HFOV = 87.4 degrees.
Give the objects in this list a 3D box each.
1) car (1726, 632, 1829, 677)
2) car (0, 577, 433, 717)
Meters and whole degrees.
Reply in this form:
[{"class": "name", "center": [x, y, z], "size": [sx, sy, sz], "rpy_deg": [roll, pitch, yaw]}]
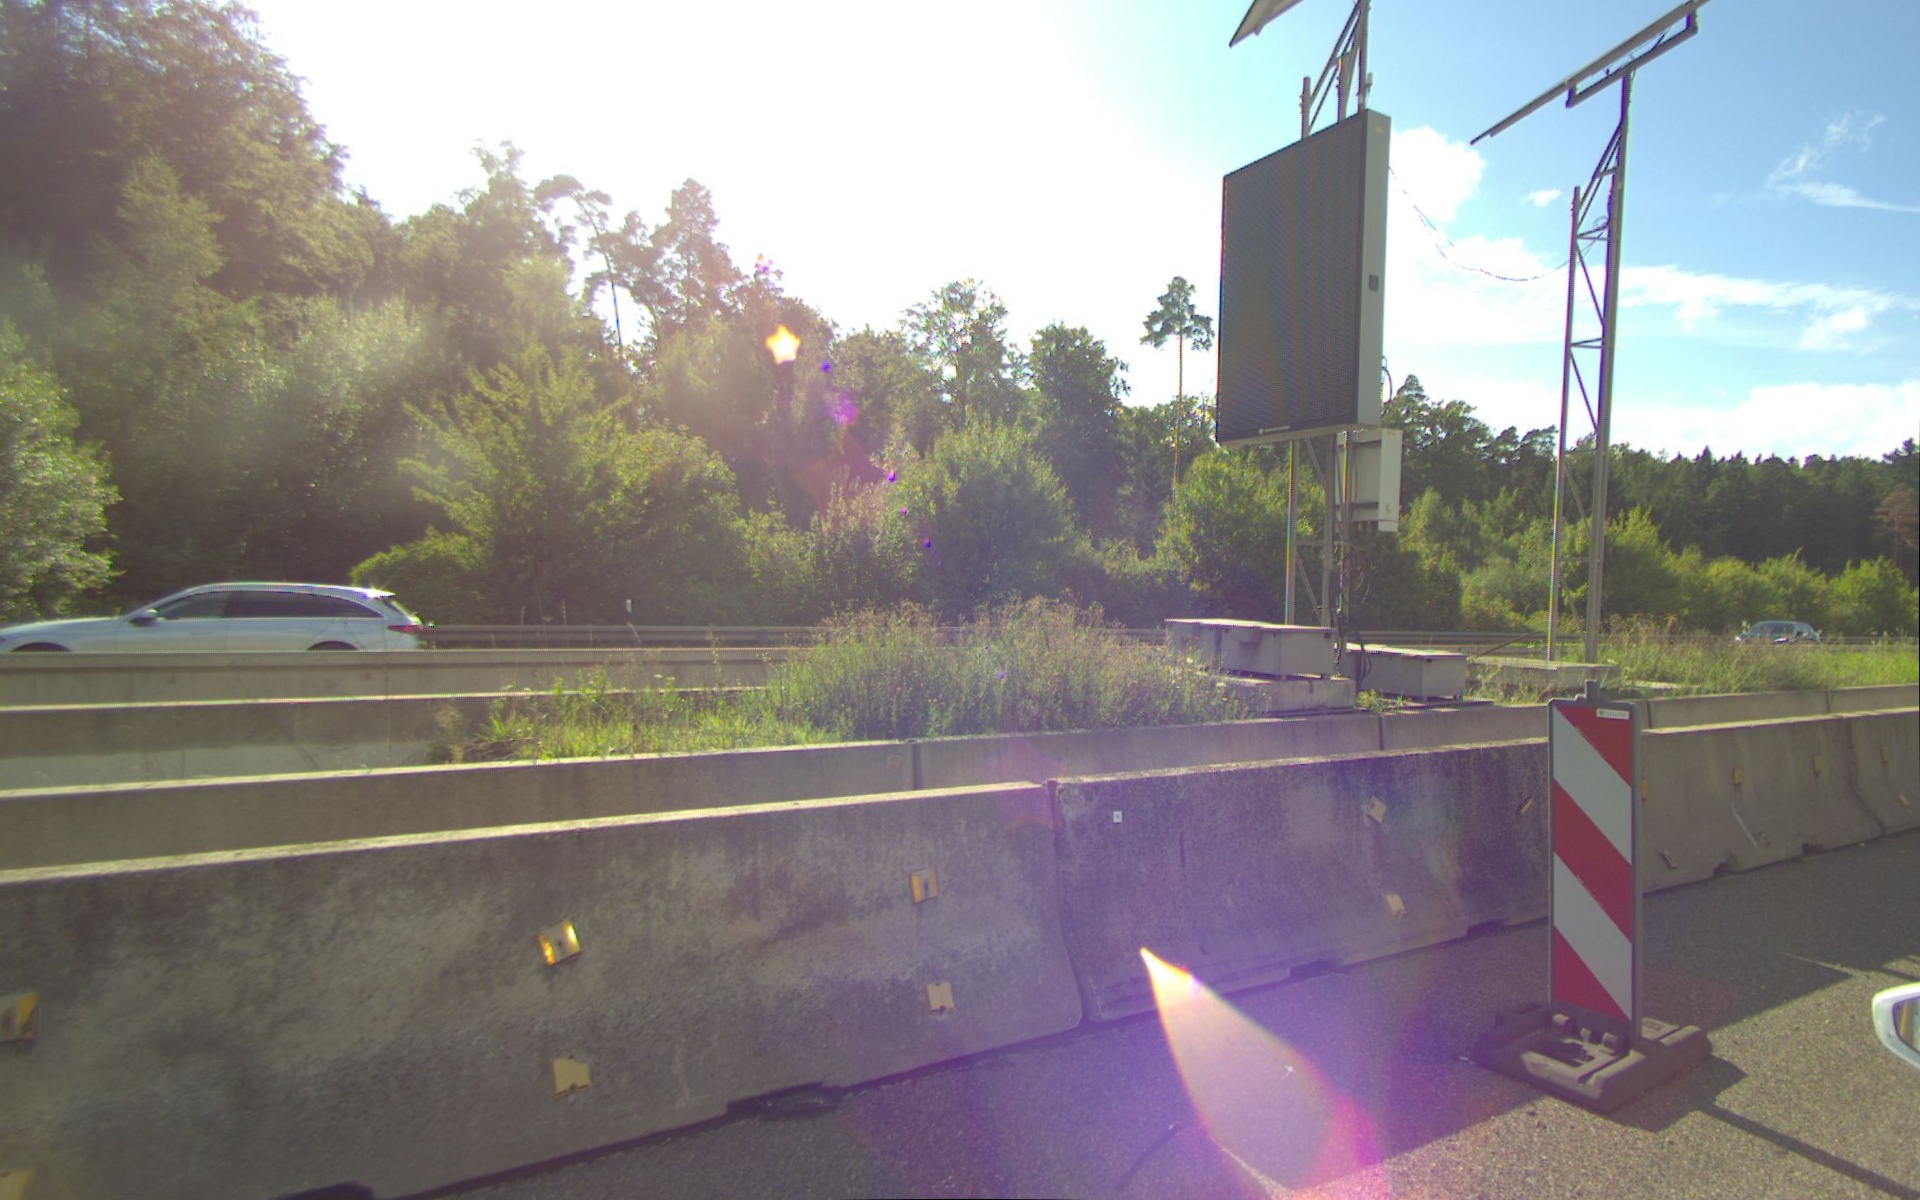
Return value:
[{"class": "car", "center": [32.723, 2.149, 40.197], "size": [4.624, 1.624, 1.768], "rpy_deg": [1, 0, -32]}, {"class": "car", "center": [-9.718, 0.587, 13.514], "size": [4.619, 1.624, 1.770], "rpy_deg": [1, 0, -29]}]
